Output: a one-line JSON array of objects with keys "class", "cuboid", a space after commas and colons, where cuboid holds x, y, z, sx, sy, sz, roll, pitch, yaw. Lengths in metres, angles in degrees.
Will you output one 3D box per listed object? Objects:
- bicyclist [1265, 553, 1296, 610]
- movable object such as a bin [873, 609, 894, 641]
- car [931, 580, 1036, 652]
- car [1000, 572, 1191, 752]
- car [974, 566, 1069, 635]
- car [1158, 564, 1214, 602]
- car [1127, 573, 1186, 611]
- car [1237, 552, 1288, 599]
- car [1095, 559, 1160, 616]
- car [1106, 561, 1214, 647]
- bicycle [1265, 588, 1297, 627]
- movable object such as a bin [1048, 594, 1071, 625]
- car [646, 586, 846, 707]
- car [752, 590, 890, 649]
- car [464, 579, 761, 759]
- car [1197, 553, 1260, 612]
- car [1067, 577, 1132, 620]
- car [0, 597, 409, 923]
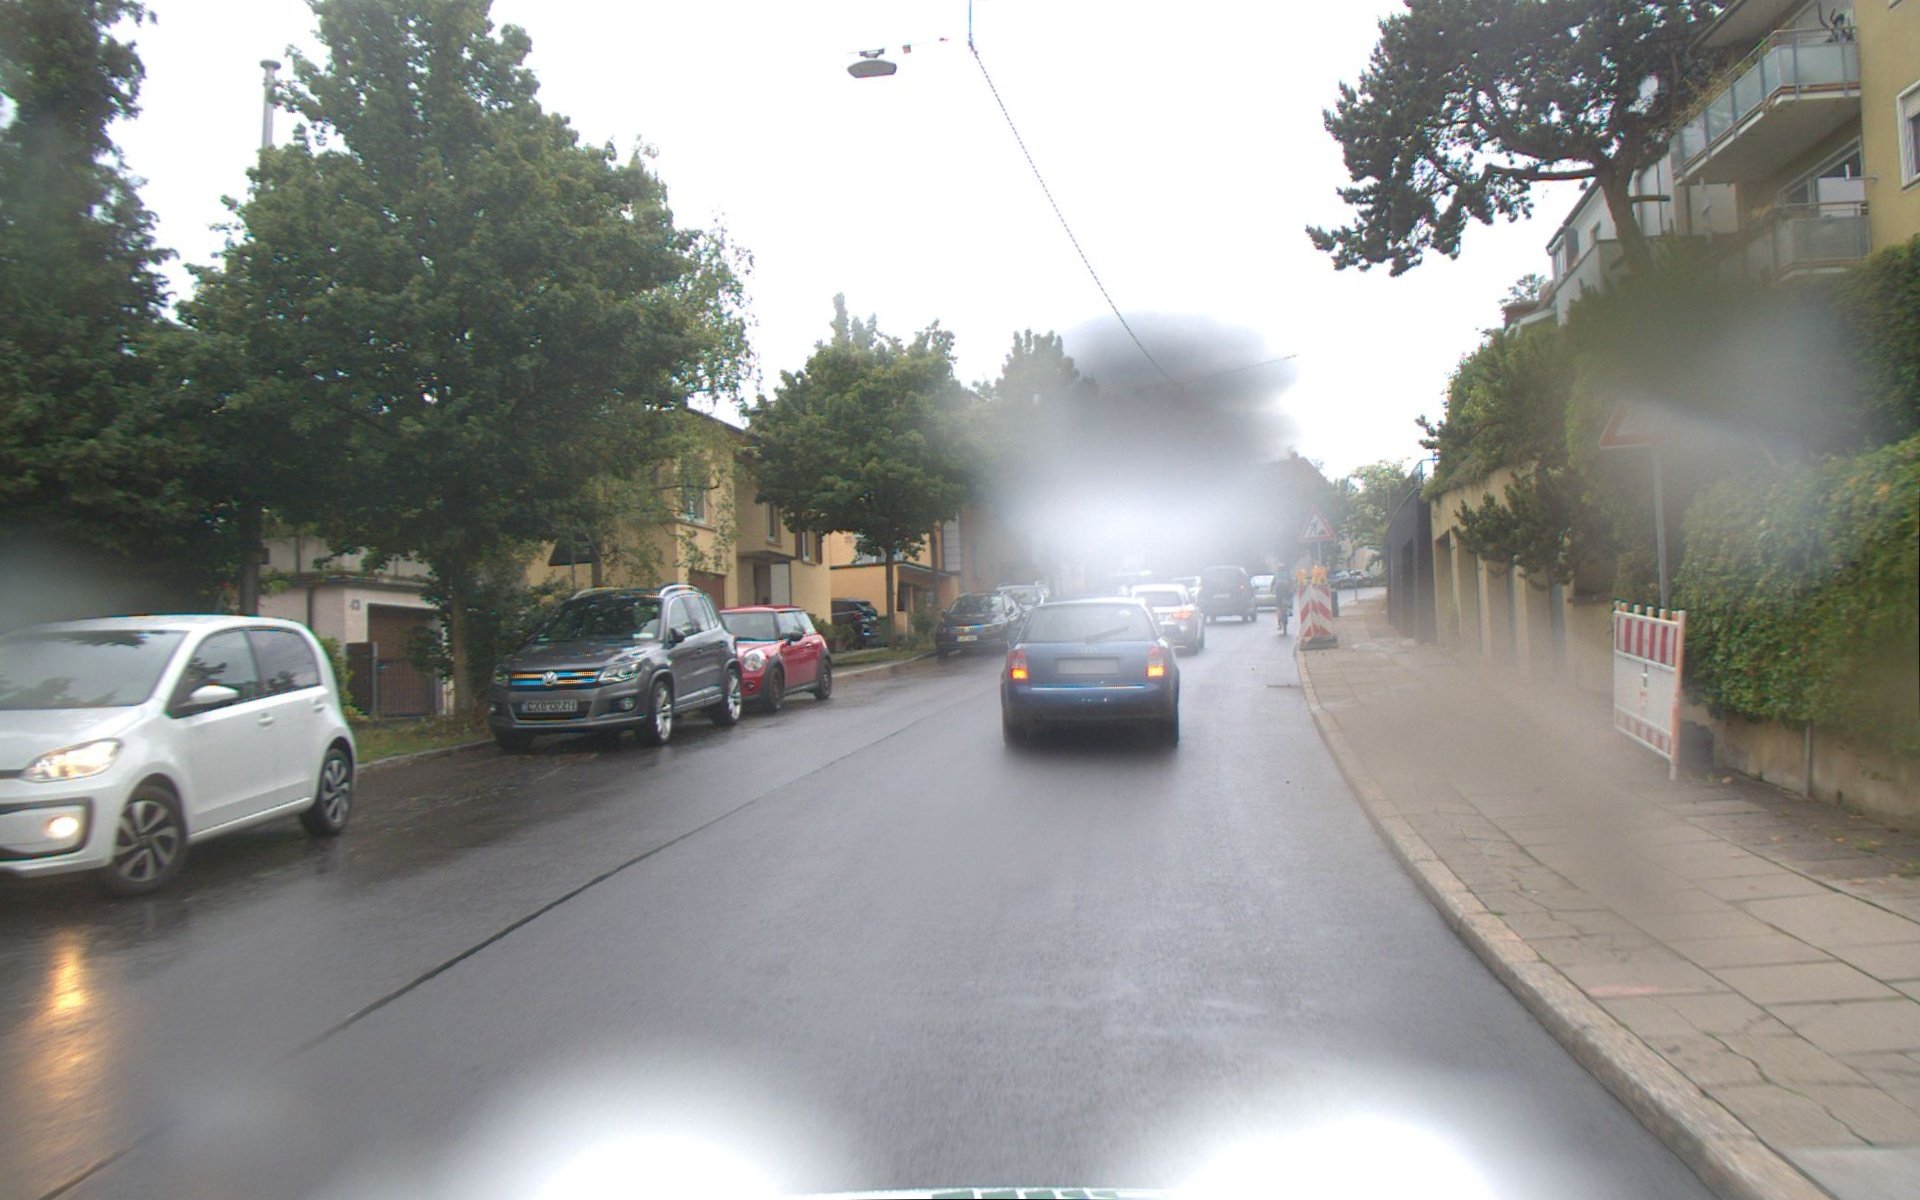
[{"class": "bicyclist", "cuboid": [8.553, -0.498, 44.119, 0.709, 1.498, 0.887, -2, 0, 15]}, {"class": "movable object such as a bin", "cuboid": [-2.548, 0.837, 55.134, 0.574, 1.041, 0.586, -2, 0, 11]}, {"class": "car", "cuboid": [0.657, 0.360, 41.605, 1.730, 1.561, 4.610, -4, 0, 11]}, {"class": "car", "cuboid": [1.457, 0.532, 16.938, 1.696, 1.492, 4.004, -1, 3, 7]}, {"class": "car", "cuboid": [1.801, -0.029, 47.029, 1.731, 1.662, 4.113, -6, 0, 14]}, {"class": "car", "cuboid": [11.094, -0.839, 80.928, 1.731, 1.655, 4.692, -4, -1, 19]}, {"class": "car", "cuboid": [8.855, -0.396, 74.362, 1.731, 1.411, 4.637, -4, 1, 17]}, {"class": "car", "cuboid": [12.632, -1.047, 68.937, 1.697, 1.799, 4.239, 0, 3, 15]}, {"class": "car", "cuboid": [6.972, -0.554, 68.344, 1.754, 2.084, 4.786, -6, 0, 15]}, {"class": "car", "cuboid": [4.423, 0.038, 36.012, 1.933, 1.663, 4.240, 0, 3, 12]}, {"class": "bicycle", "cuboid": [8.556, 0.202, 44.050, 0.714, 0.981, 1.672, -2, 1, 15]}, {"class": "movable object such as a bin", "cuboid": [3.668, 0.353, 61.216, 0.668, 1.028, 0.709, -7, 0, 9]}, {"class": "car", "cuboid": [-2.943, 0.599, 23.556, 1.646, 1.497, 3.869, -3, 0, 10]}, {"class": "car", "cuboid": [-4.440, 0.611, 53.178, 3.967, 1.675, 1.865, -3, 0, 14]}, {"class": "car", "cuboid": [-3.722, 0.677, 18.584, 1.762, 1.698, 4.430, -3, 0, 9]}, {"class": "car", "cuboid": [9.041, -0.619, 55.502, 1.696, 1.799, 4.240, 0, 3, 14]}, {"class": "car", "cuboid": [5.399, -0.069, 63.608, 1.731, 1.461, 4.351, -4, 0, 14]}, {"class": "car", "cuboid": [-4.913, 0.760, 9.798, 1.697, 1.492, 4.002, -1, 0, 4]}]
